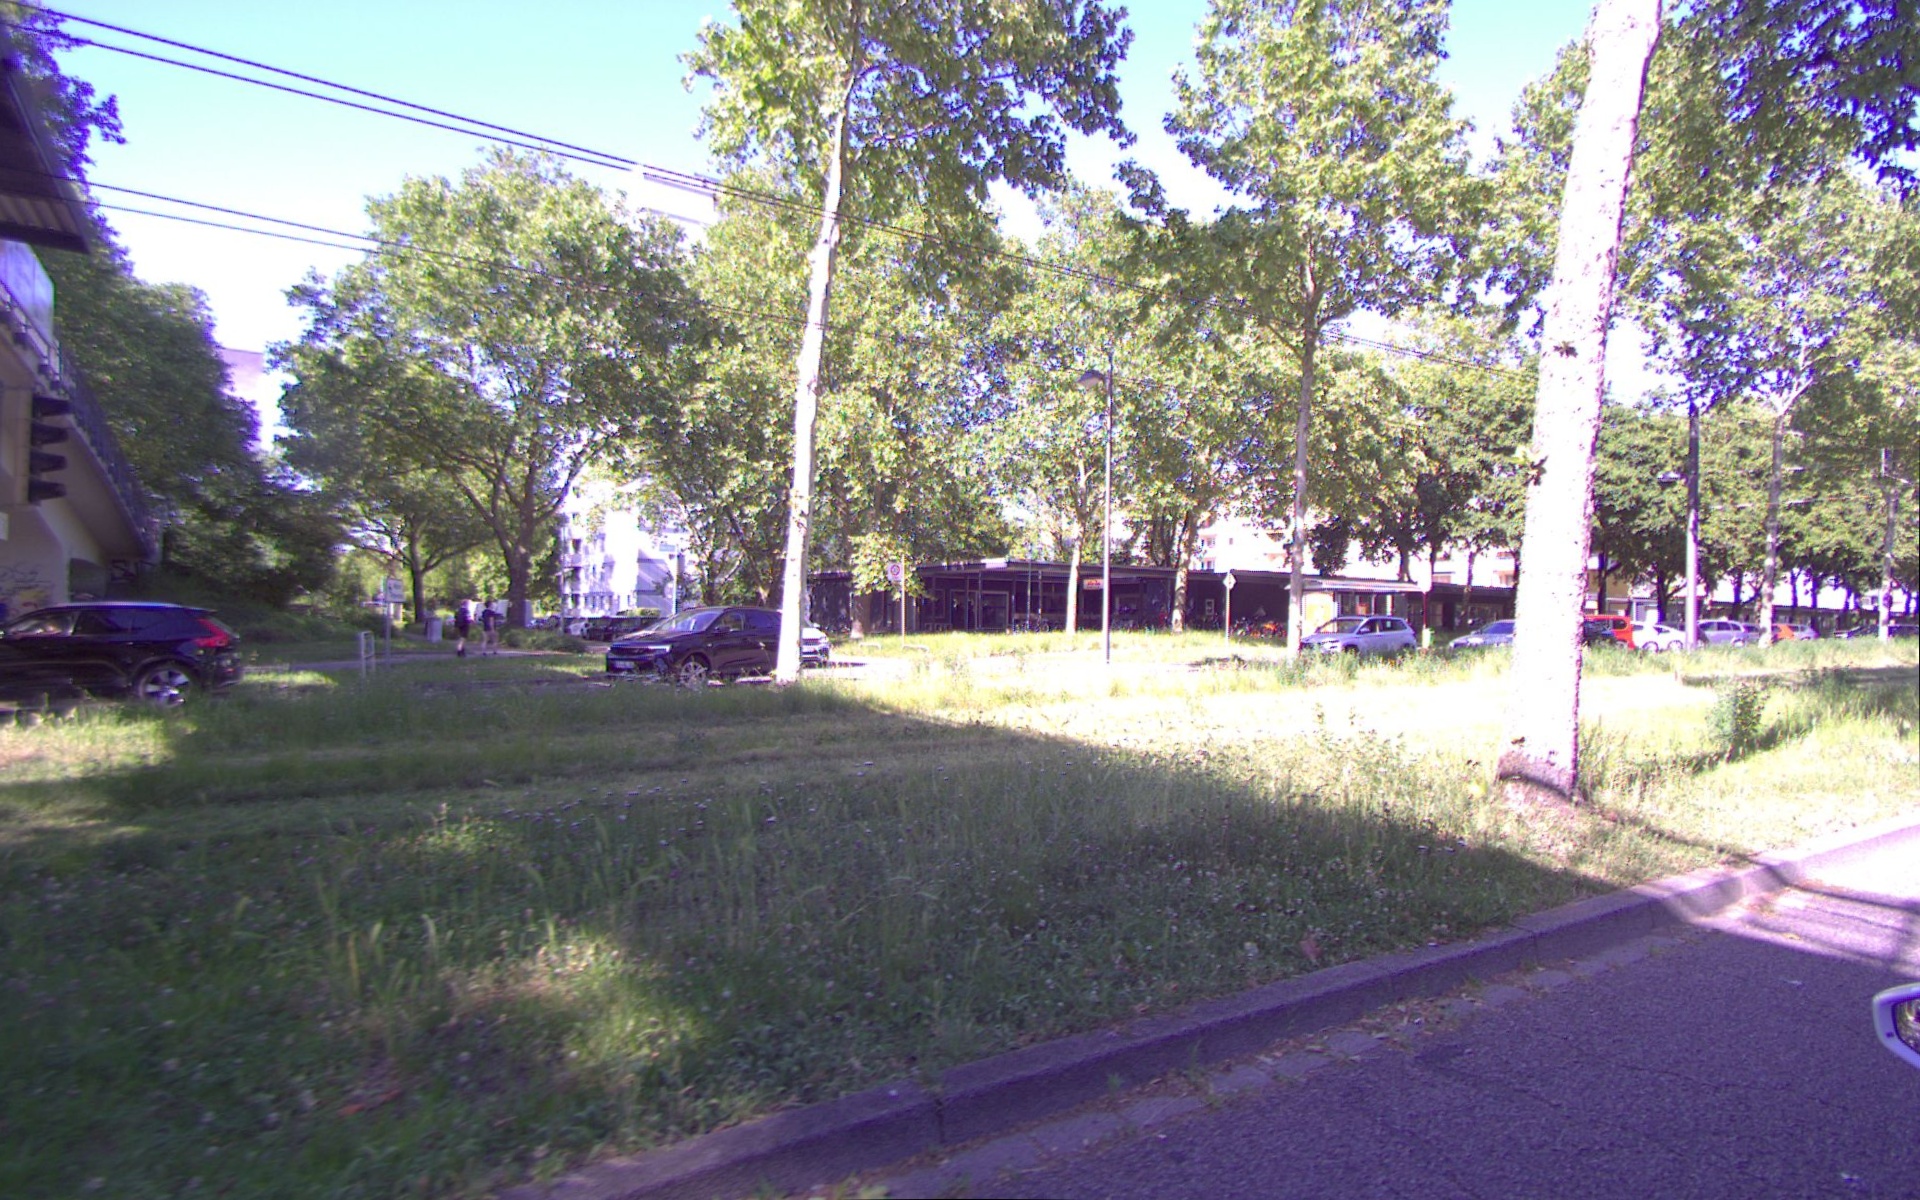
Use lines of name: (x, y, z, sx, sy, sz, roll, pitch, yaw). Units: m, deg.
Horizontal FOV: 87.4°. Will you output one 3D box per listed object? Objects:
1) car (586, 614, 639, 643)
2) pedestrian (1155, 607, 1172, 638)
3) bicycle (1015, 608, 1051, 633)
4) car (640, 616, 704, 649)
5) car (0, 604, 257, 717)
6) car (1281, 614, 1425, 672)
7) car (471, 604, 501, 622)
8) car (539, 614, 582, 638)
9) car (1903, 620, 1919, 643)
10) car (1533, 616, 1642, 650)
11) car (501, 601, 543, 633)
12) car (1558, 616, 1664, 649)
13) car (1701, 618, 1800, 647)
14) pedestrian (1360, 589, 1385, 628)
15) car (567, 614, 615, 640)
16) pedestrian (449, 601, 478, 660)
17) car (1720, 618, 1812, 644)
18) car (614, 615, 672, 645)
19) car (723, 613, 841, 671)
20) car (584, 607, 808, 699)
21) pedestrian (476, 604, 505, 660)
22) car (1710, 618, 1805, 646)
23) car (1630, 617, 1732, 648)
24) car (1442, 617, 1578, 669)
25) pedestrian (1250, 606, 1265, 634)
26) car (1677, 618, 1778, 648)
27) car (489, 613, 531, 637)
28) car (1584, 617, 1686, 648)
car: (-19.798, 1.597, 57.136, 1.782, 1.530, 3.960, 1, -1, -35)
pedestrian: (11.149, 1.206, 54.966, 0.644, 1.683, 0.644, 1, -1, -35)
bicycle: (3.330, 0.944, 45.734, 1.784, 1.122, 0.550, 1, -1, -39)
car: (-14.109, 1.541, 49.052, 1.782, 1.530, 3.960, 1, -1, -35)
car: (-13.363, 0.876, 15.287, 4.240, 1.587, 1.784, 1, -1, -32)
car: (11.740, 1.238, 29.941, 4.237, 1.601, 1.786, 1, -1, -30)
car: (-42.815, 1.183, 90.720, 1.847, 1.530, 3.960, 1, -1, -35)
car: (-26.390, 1.674, 66.347, 1.782, 1.530, 3.960, 1, -1, -35)
car: (66.105, 2.135, 68.229, 3.948, 1.530, 1.788, 1, -1, -27)
car: (29.100, 1.511, 46.718, 3.919, 1.530, 1.801, 0, -1, 14)
car: (-34.504, 1.326, 79.006, 2.042, 2.468, 4.959, 1, -1, -35)
car: (31.472, 1.564, 48.683, 3.919, 1.530, 1.801, 0, -1, 14)
car: (43.965, 1.790, 55.967, 3.919, 1.530, 1.801, 0, -1, 14)
pedestrian: (15.829, 0.326, 38.550, 0.642, 1.479, 0.645, 1, -1, -28)
car: (-22.667, 1.635, 61.586, 1.782, 1.530, 3.960, 1, -1, -35)
pedestrian: (-15.366, 0.939, 31.102, 0.638, 1.807, 0.649, 0, 0, -9)
car: (48.332, 1.847, 60.314, 3.919, 1.530, 1.801, 0, -1, 14)
car: (-16.731, 1.556, 52.899, 1.782, 1.530, 3.960, 1, -1, -35)
car: (-5.169, 1.141, 28.799, 1.783, 1.530, 4.046, 1, -1, -36)
car: (-5.042, 0.958, 19.765, 1.768, 1.587, 4.279, 0, -1, 31)
pedestrian: (-14.551, 0.983, 31.144, 0.638, 1.728, 0.649, 0, 0, -9)
car: (46.279, 1.845, 58.352, 3.919, 1.530, 1.801, 0, -1, 14)
car: (37.505, 1.691, 52.330, 3.920, 1.530, 1.801, 0, -1, 17)
car: (17.366, 1.325, 31.670, 4.624, 1.530, 1.784, 1, -1, -33)
pedestrian: (17.928, 1.198, 60.562, 0.644, 1.683, 0.644, 1, -1, -35)
car: (41.134, 1.744, 53.919, 3.919, 1.530, 1.801, 0, -1, 14)
car: (-29.926, 1.648, 66.743, 1.782, 1.530, 3.960, 1, -1, -35)
car: (33.957, 1.622, 50.632, 3.919, 1.530, 1.801, 0, -1, 14)
